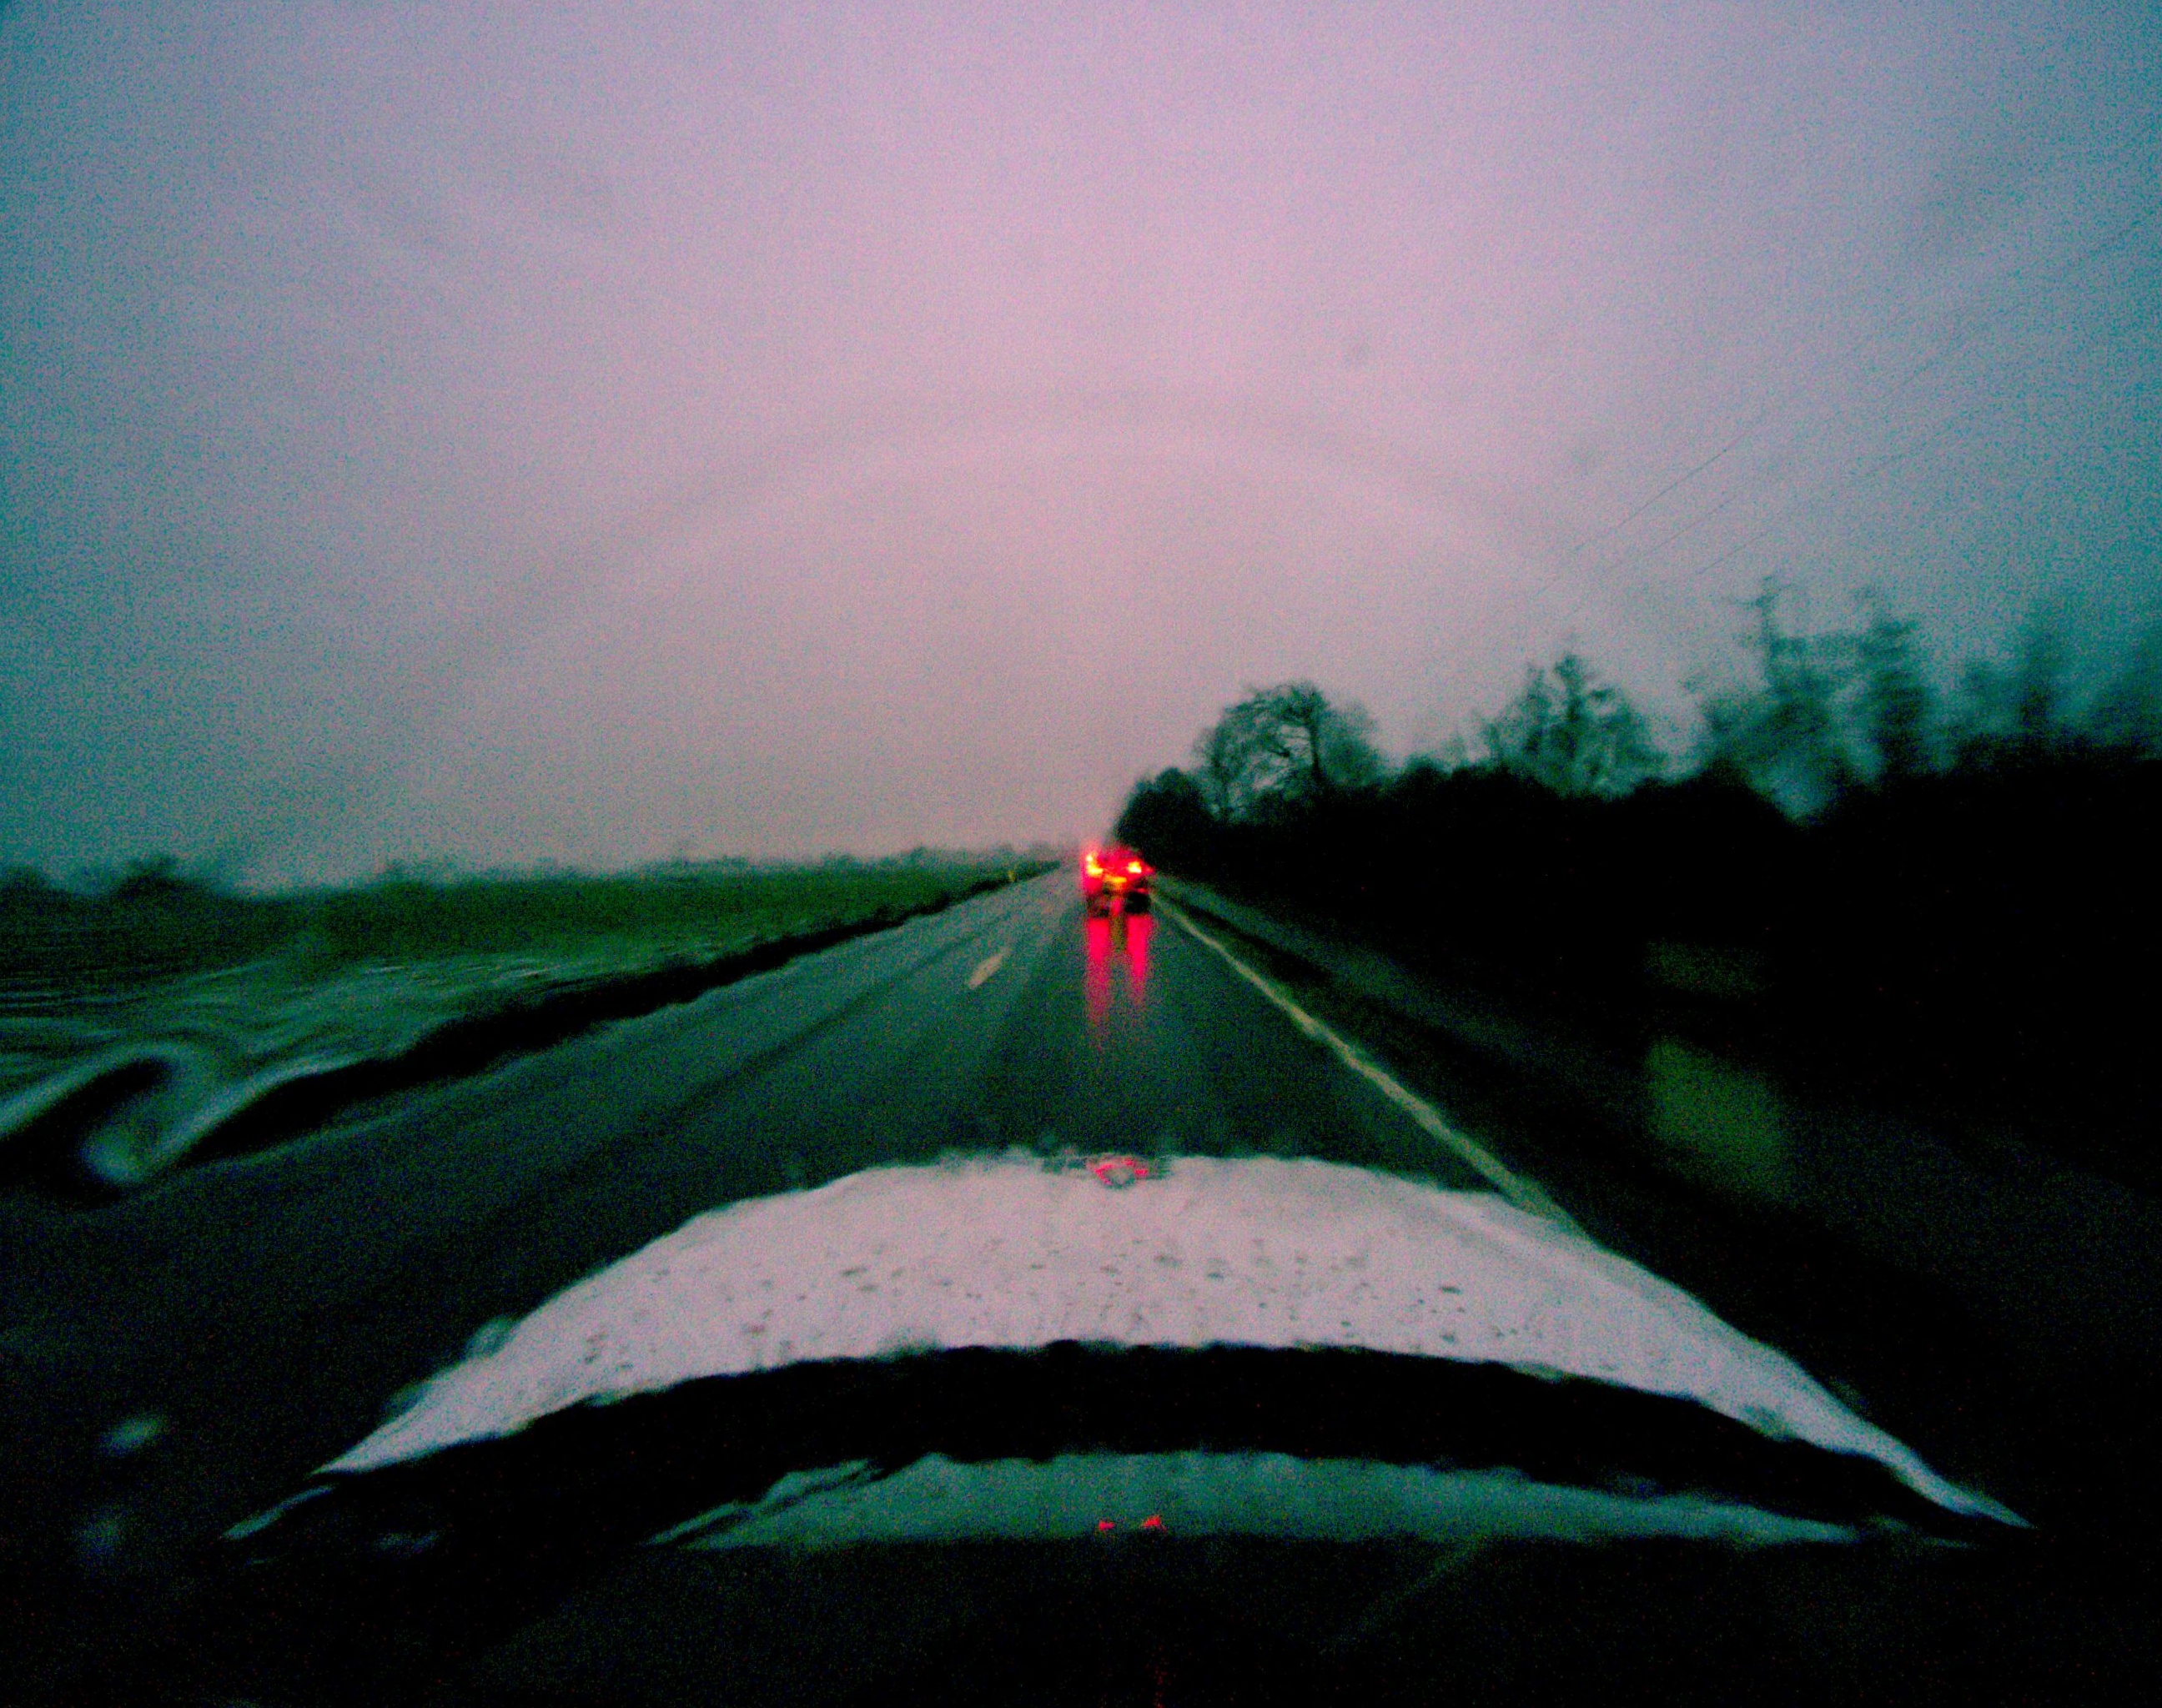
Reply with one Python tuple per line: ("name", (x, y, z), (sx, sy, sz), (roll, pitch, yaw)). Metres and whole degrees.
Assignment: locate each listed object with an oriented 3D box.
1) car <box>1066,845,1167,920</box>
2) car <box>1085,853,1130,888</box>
("car", (1.086, 0.818, 25.707), (2.810, 2.077, 5.806), (0, -1, 2))
("car", (1.606, 0.971, 50.003), (2.582, 2.014, 5.806), (0, -1, 2))
